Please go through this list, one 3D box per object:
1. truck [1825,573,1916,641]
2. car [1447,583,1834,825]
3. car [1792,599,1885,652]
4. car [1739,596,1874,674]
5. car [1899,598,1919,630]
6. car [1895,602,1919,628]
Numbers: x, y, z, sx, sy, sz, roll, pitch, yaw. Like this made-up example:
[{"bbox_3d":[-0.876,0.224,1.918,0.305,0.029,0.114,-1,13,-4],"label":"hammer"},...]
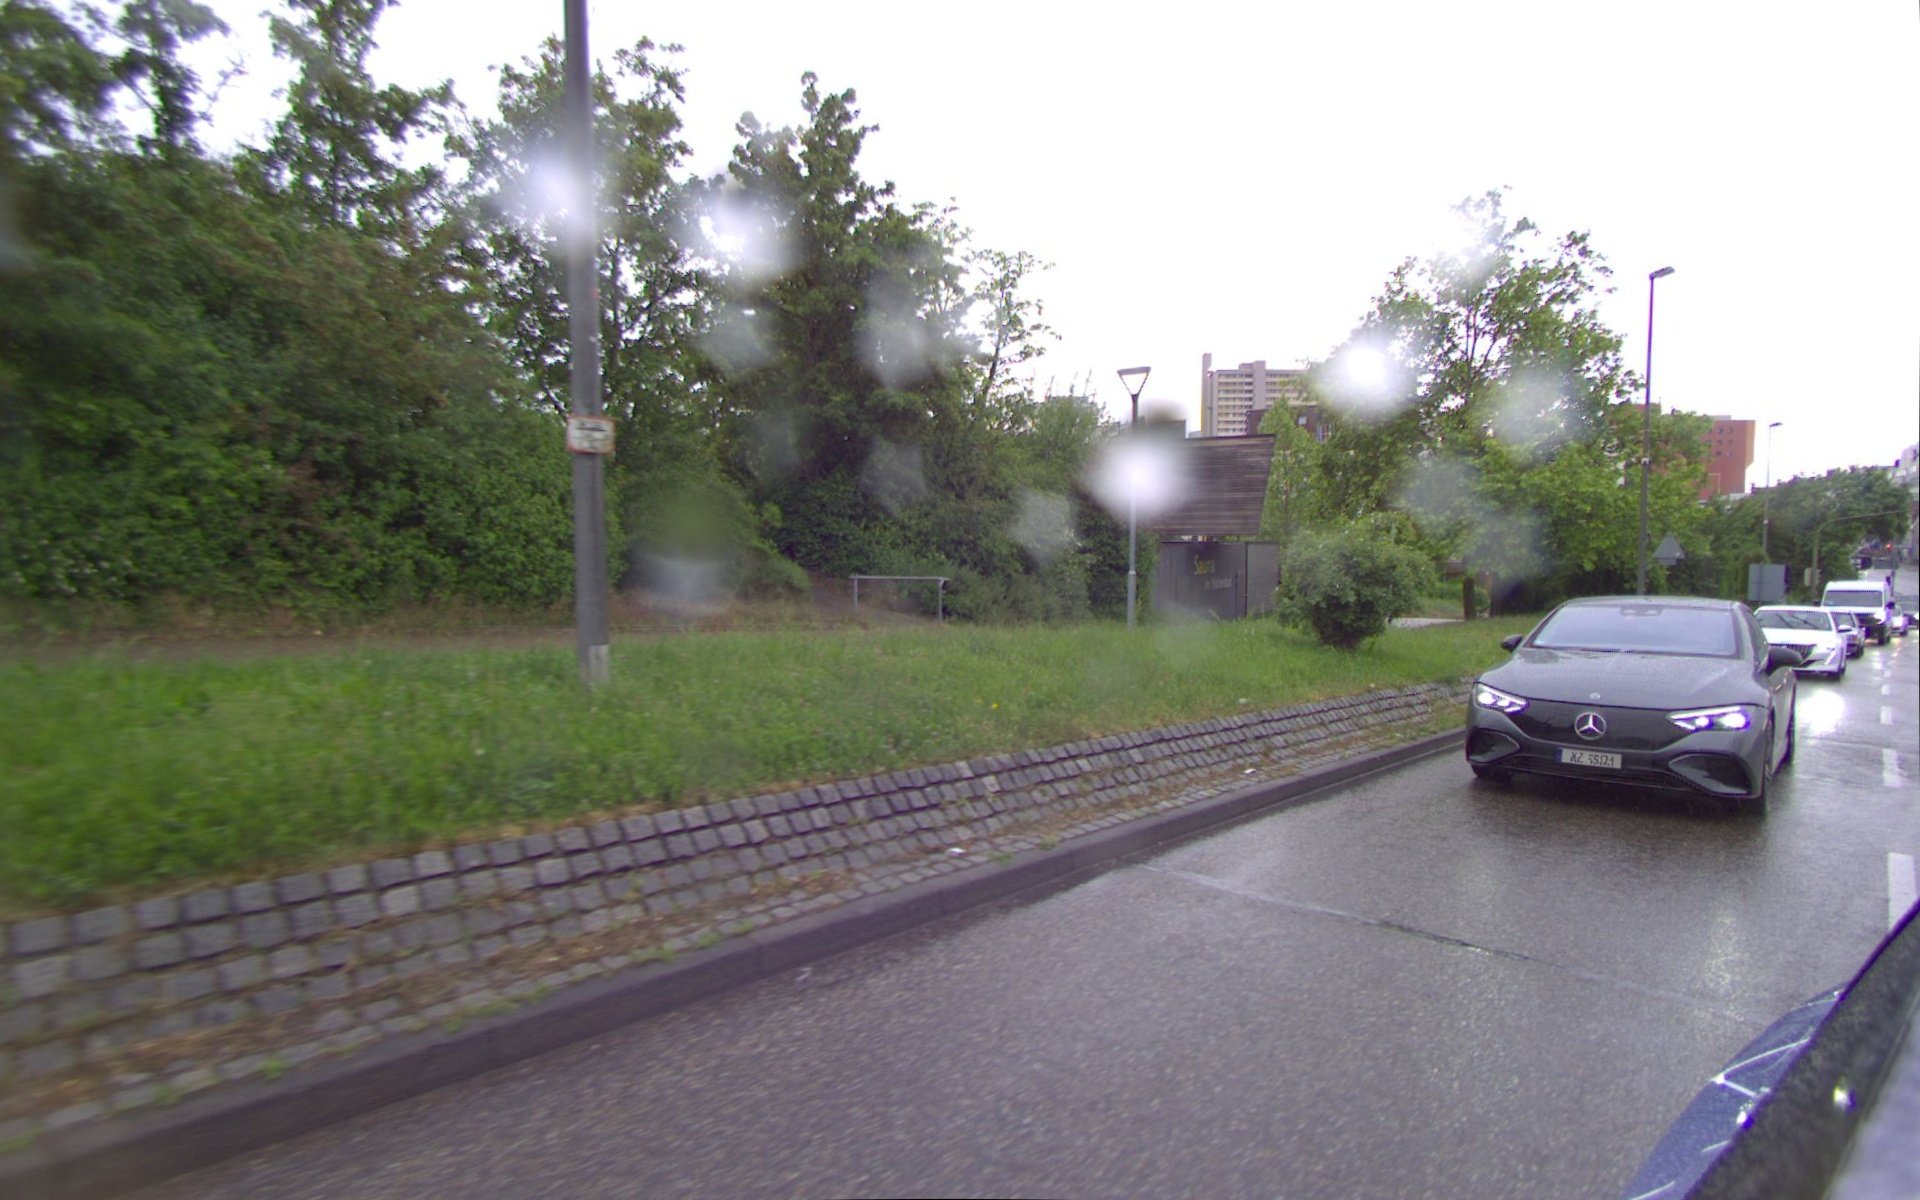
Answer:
[{"bbox_3d":[36.341,0.180,40.330,6.096,2.469,2.166,-1,2,-43],"label":"truck"},{"bbox_3d":[5.828,0.602,8.403,4.477,1.462,1.832,-1,1,-45],"label":"car"},{"bbox_3d":[25.998,0.713,29.917,3.672,1.394,1.715,-1,1,-43],"label":"car"},{"bbox_3d":[17.795,0.655,21.214,3.968,1.415,1.715,-1,1,-43],"label":"car"},{"bbox_3d":[48.056,0.694,50.260,1.994,1.571,3.936,2,1,44],"label":"car"},{"bbox_3d":[60.005,0.914,63.383,1.994,1.571,3.936,2,1,44],"label":"car"}]
